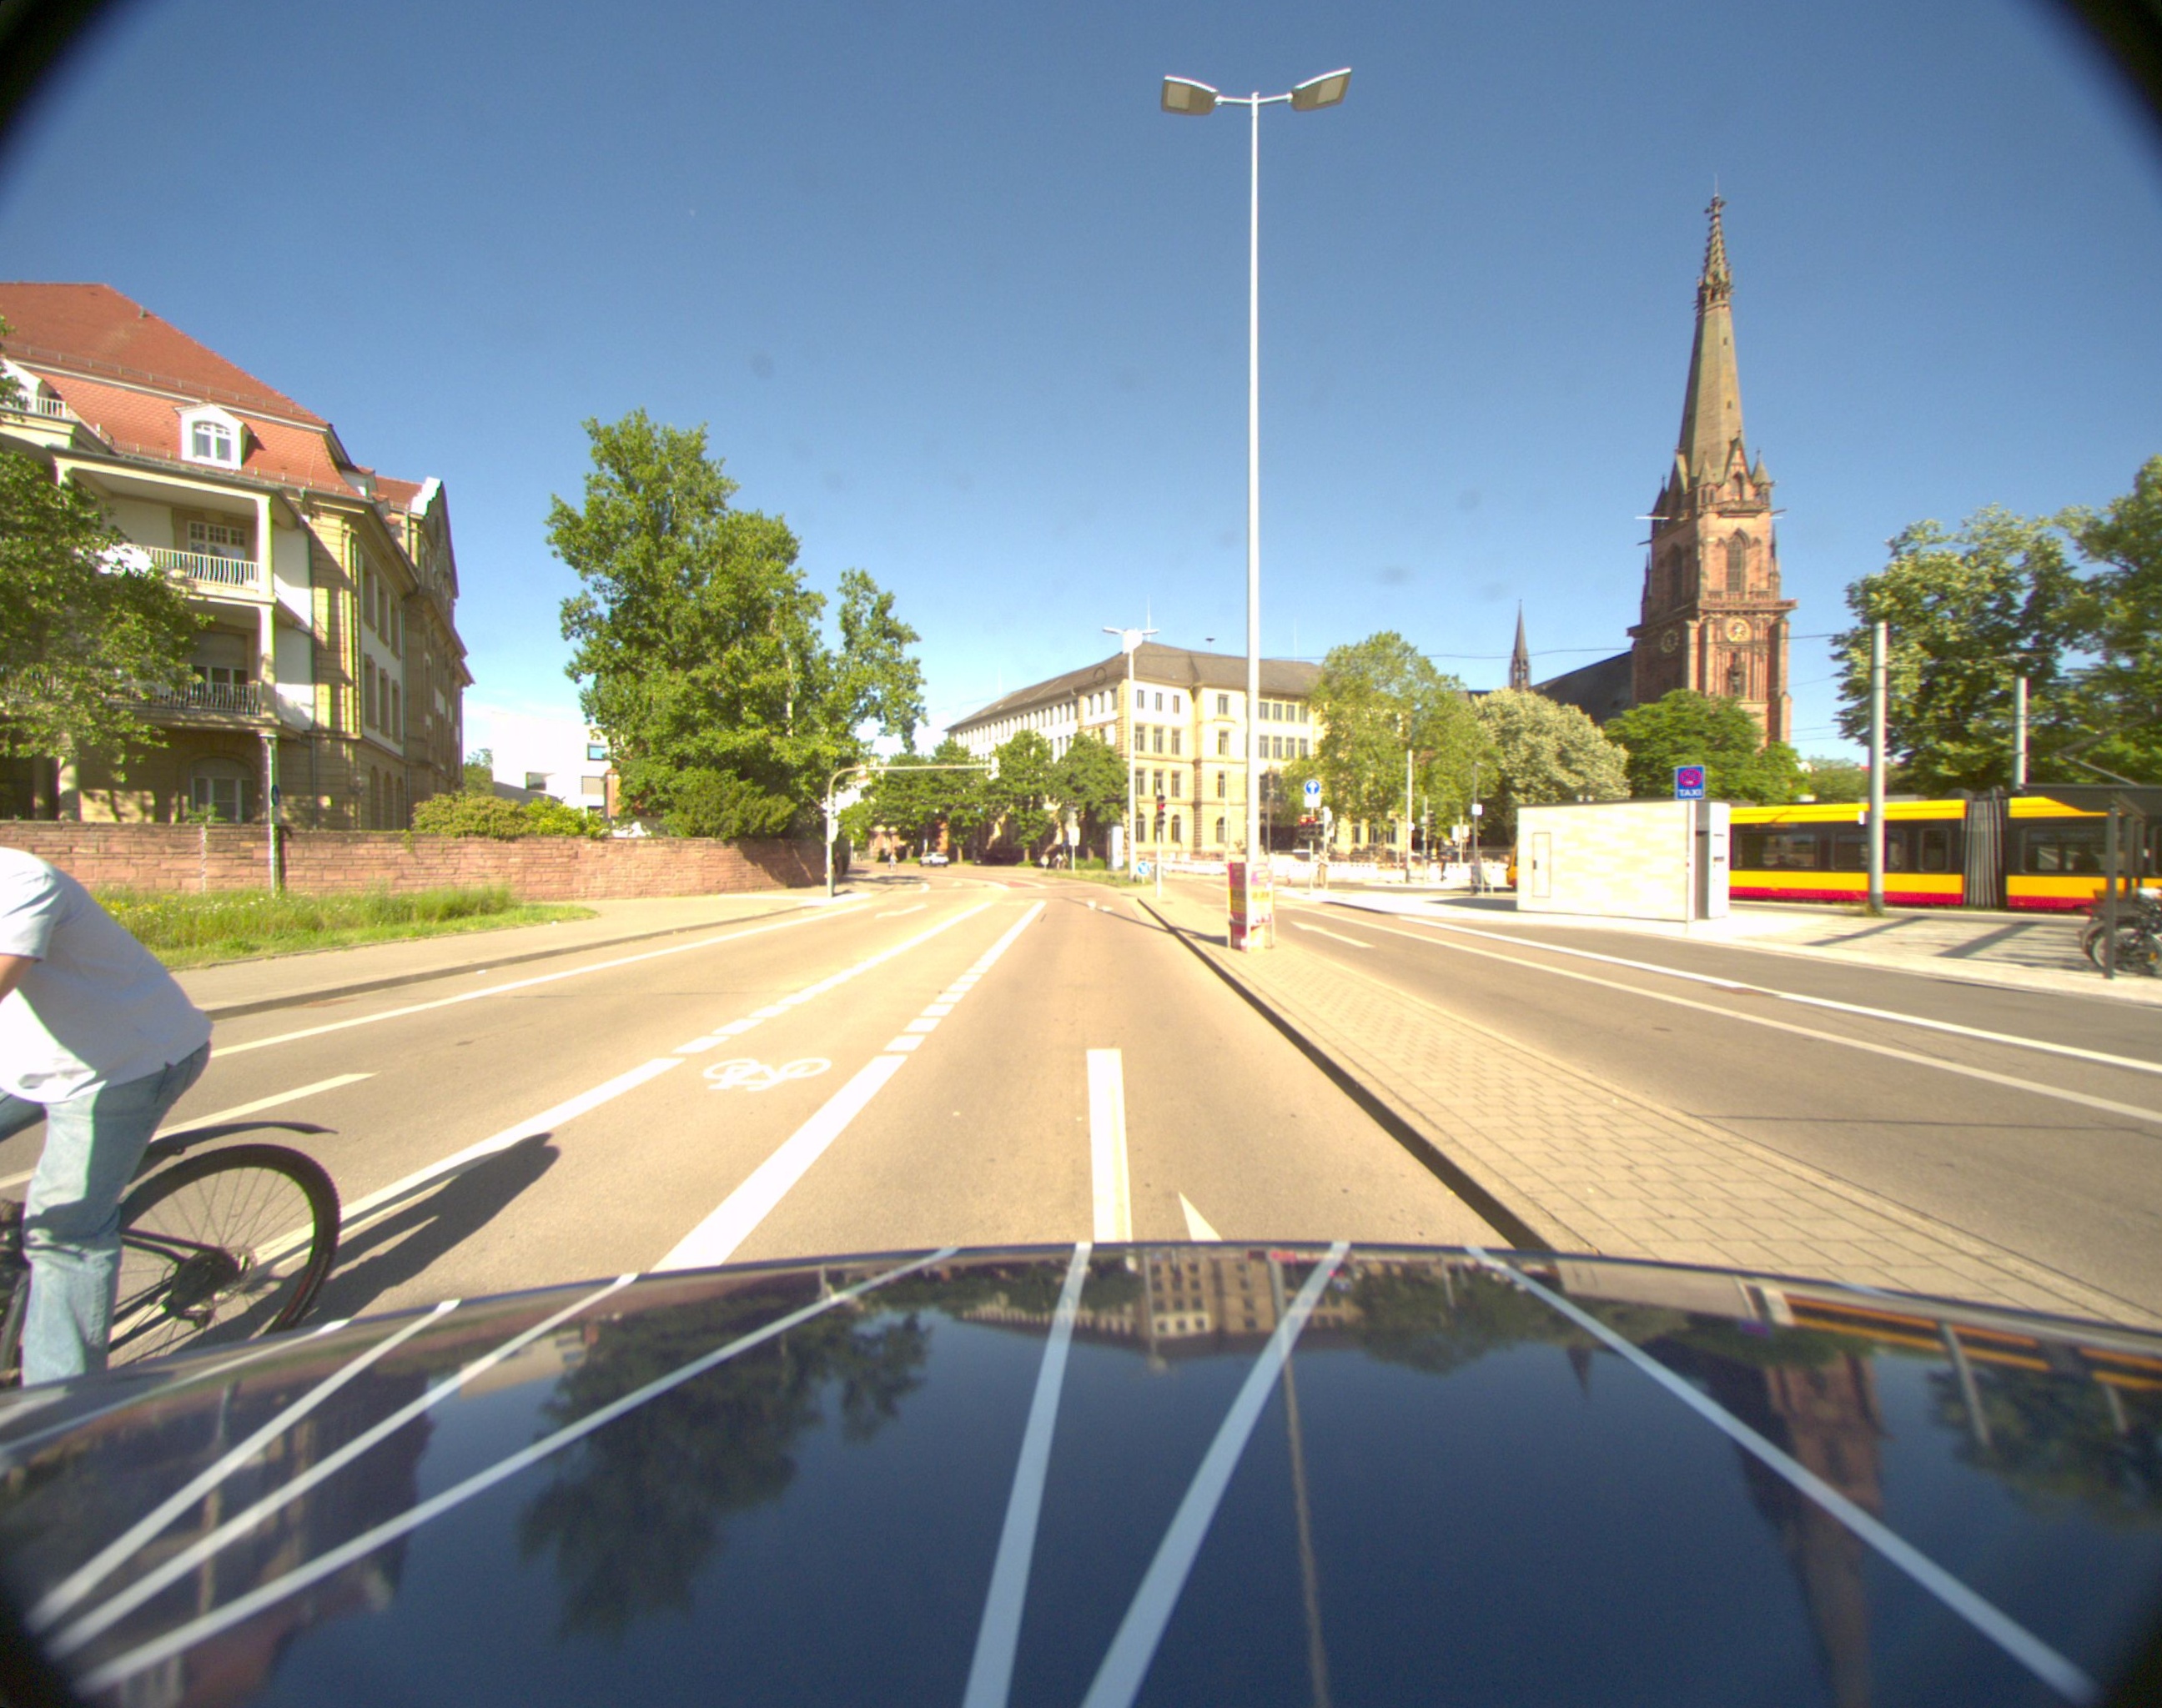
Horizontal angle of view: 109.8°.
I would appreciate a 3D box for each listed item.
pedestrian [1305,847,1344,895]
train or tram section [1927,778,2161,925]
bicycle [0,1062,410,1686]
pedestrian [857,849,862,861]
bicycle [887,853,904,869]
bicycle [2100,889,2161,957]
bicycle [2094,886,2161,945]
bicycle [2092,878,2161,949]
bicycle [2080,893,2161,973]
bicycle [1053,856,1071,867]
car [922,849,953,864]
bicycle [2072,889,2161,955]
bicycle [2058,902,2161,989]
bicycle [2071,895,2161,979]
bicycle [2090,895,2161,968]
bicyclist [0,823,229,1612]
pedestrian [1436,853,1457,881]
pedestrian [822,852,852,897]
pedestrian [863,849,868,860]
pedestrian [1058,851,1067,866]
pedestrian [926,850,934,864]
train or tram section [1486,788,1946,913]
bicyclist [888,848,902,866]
[{"bbox_3d":[9.510,0.661,29.716,1.229,1.845,0.827,0,1,-6],"label":"pedestrian"},{"bbox_3d":[28.845,-0.052,17.441,2.806,3.580,12.294,-1,1,-35],"label":"train or tram section"},{"bbox_3d":[-2.654,1.232,1.624,0.749,1.044,1.903,0,1,-1],"label":"bicycle"},{"bbox_3d":[-35.817,0.142,122.800,0.758,1.802,0.979,0,1,-16],"label":"pedestrian"},{"bbox_3d":[-16.274,0.589,66.485,0.763,1.360,2.731,-1,1,-28],"label":"bicycle"},{"bbox_3d":[17.168,1.093,11.631,0.630,1.002,1.826,-1,1,-32],"label":"bicycle"},{"bbox_3d":[19.528,1.118,13.464,0.630,1.002,1.826,-1,1,-32],"label":"bicycle"},{"bbox_3d":[18.949,1.041,13.055,0.630,1.173,1.826,-1,1,-32],"label":"bicycle"},{"bbox_3d":[15.143,1.110,10.334,0.574,1.045,1.826,-1,1,-32],"label":"bicycle"},{"bbox_3d":[-1.808,0.731,72.048,0.602,1.000,1.982,-3,1,-39],"label":"bicycle"},{"bbox_3d":[-15.868,0.219,83.873,1.851,1.543,4.324,1,1,-33],"label":"car"},{"bbox_3d":[17.815,1.131,12.467,0.630,1.002,1.826,-1,1,-32],"label":"bicycle"},{"bbox_3d":[13.937,1.200,9.599,0.702,1.002,1.863,-1,2,-32],"label":"bicycle"},{"bbox_3d":[14.673,1.124,10.069,0.630,1.059,1.826,-1,1,-32],"label":"bicycle"},{"bbox_3d":[16.181,1.155,11.007,0.630,1.002,1.826,-1,1,-32],"label":"bicycle"},{"bbox_3d":[-2.654,0.769,1.585,0.742,1.664,0.865,0,1,-1],"label":"bicyclist"},{"bbox_3d":[23.043,0.794,47.867,0.807,1.731,0.933,-1,1,-35],"label":"pedestrian"},{"bbox_3d":[-10.297,0.856,32.135,0.960,1.839,0.731,1,1,5],"label":"pedestrian"},{"bbox_3d":[-35.010,0.134,123.391,0.758,1.802,0.979,0,1,-15],"label":"pedestrian"},{"bbox_3d":[-1.763,0.453,71.986,0.597,1.394,0.644,-3,2,-38],"label":"pedestrian"},{"bbox_3d":[-19.790,0.402,99.578,0.759,1.802,0.977,-1,1,-40],"label":"pedestrian"},{"bbox_3d":[21.781,-0.132,27.630,2.806,3.580,12.504,-1,1,-35],"label":"train or tram section"},{"bbox_3d":[-16.278,0.259,66.503,0.871,1.551,1.277,-1,1,-29],"label":"bicyclist"}]
